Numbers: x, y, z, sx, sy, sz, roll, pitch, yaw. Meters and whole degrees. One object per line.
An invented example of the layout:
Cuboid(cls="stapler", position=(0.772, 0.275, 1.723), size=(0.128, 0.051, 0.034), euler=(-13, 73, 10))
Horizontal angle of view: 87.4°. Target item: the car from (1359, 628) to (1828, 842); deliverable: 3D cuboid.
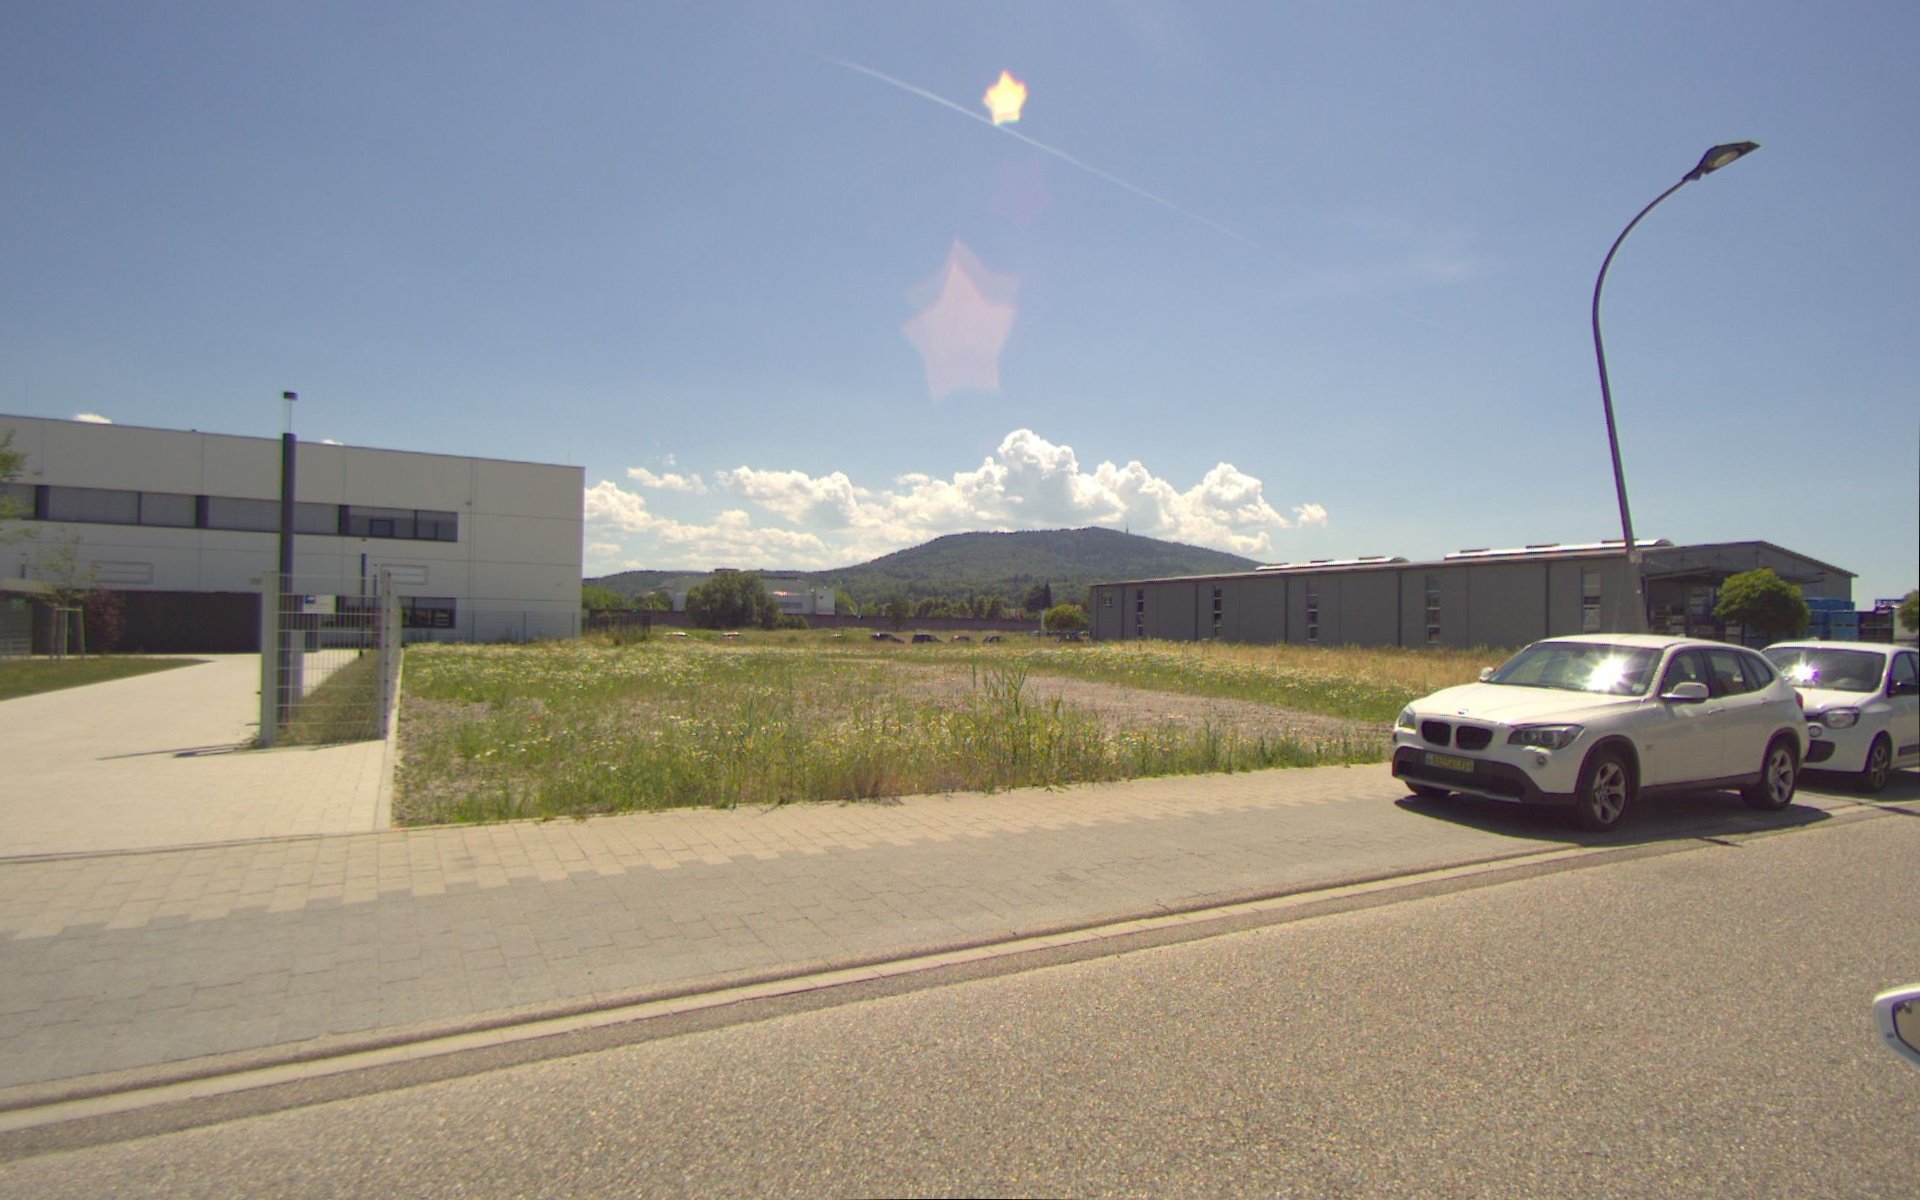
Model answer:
Cuboid(cls="car", position=(5.913, 1.092, 9.288), size=(4.310, 1.563, 1.780), euler=(2, -1, -28))

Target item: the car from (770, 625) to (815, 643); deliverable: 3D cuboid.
Cuboid(cls="car", position=(-19.780, 4.035, 118.460), size=(4.863, 2.040, 1.984), euler=(2, -2, -30))

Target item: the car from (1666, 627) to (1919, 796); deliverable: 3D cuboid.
Cuboid(cls="car", position=(10.254, 1.202, 11.863), size=(3.725, 1.678, 1.778), euler=(2, -1, -31))

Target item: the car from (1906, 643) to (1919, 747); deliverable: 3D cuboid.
Cuboid(cls="car", position=(16.492, 1.484, 15.384), size=(4.328, 1.537, 1.755), euler=(2, -1, -30))
